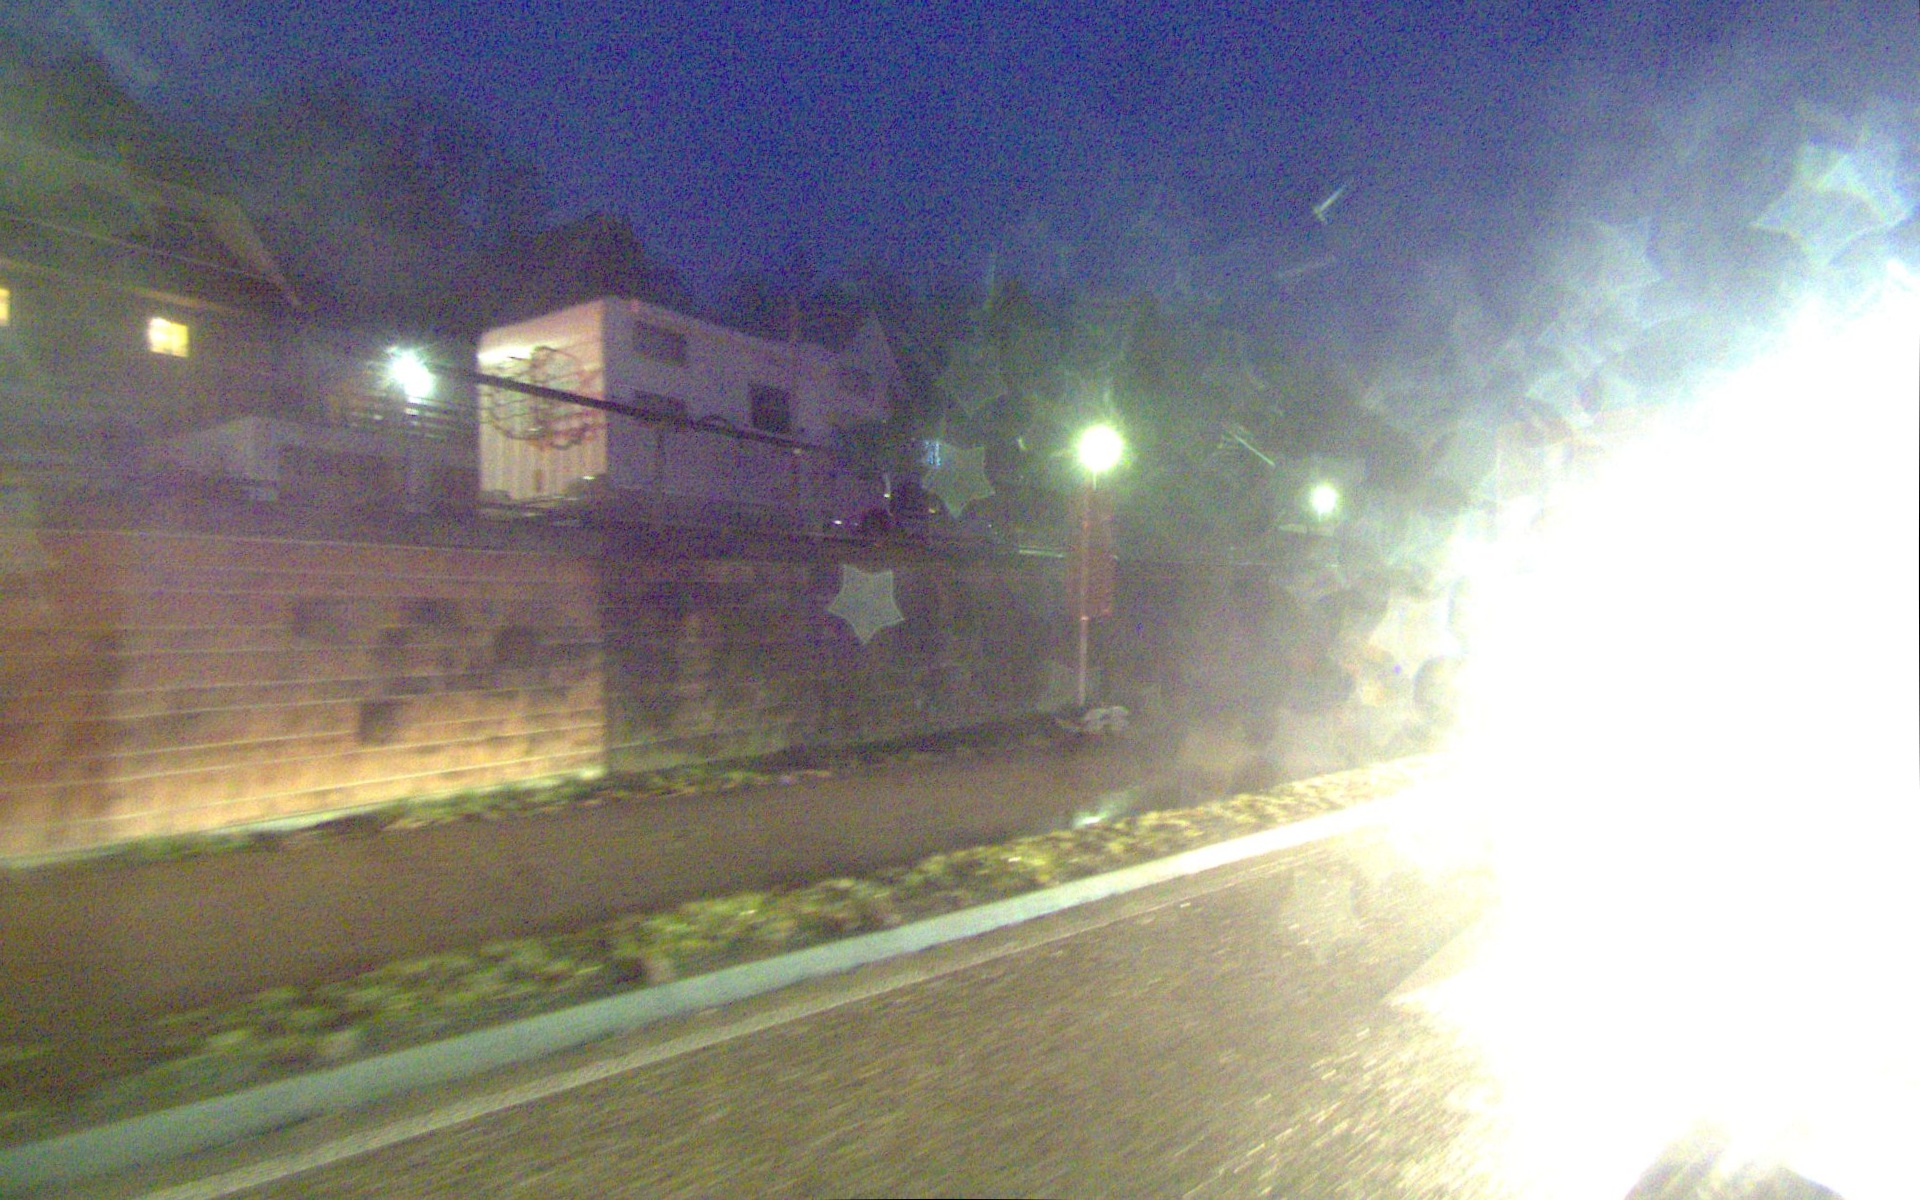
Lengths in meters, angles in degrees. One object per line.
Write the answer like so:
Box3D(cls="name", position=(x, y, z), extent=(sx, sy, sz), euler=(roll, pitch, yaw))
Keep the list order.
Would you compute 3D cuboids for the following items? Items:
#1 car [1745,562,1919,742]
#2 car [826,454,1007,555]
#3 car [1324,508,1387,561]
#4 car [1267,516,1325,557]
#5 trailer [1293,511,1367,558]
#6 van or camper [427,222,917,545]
Box3D(cls="car", position=(11.191, 0.542, 12.373), extent=(4.629, 1.841, 1.757), euler=(1, 0, -42))
Box3D(cls="car", position=(-0.755, -1.806, 20.230), extent=(1.628, 1.638, 4.088), euler=(1, 0, 31))
Box3D(cls="car", position=(22.083, -3.593, 56.356), extent=(2.107, 2.668, 5.384), euler=(1, 1, 34))
Box3D(cls="car", position=(15.152, -2.817, 45.490), extent=(1.605, 1.660, 3.954), euler=(1, 1, 32))
Box3D(cls="trailer", position=(18.999, -3.295, 51.783), extent=(2.218, 2.097, 5.650), euler=(2, 1, 34))
Box3D(cls="van or camper", position=(-3.327, -2.341, 13.472), extent=(2.566, 2.944, 6.292), euler=(1, 1, 30))
